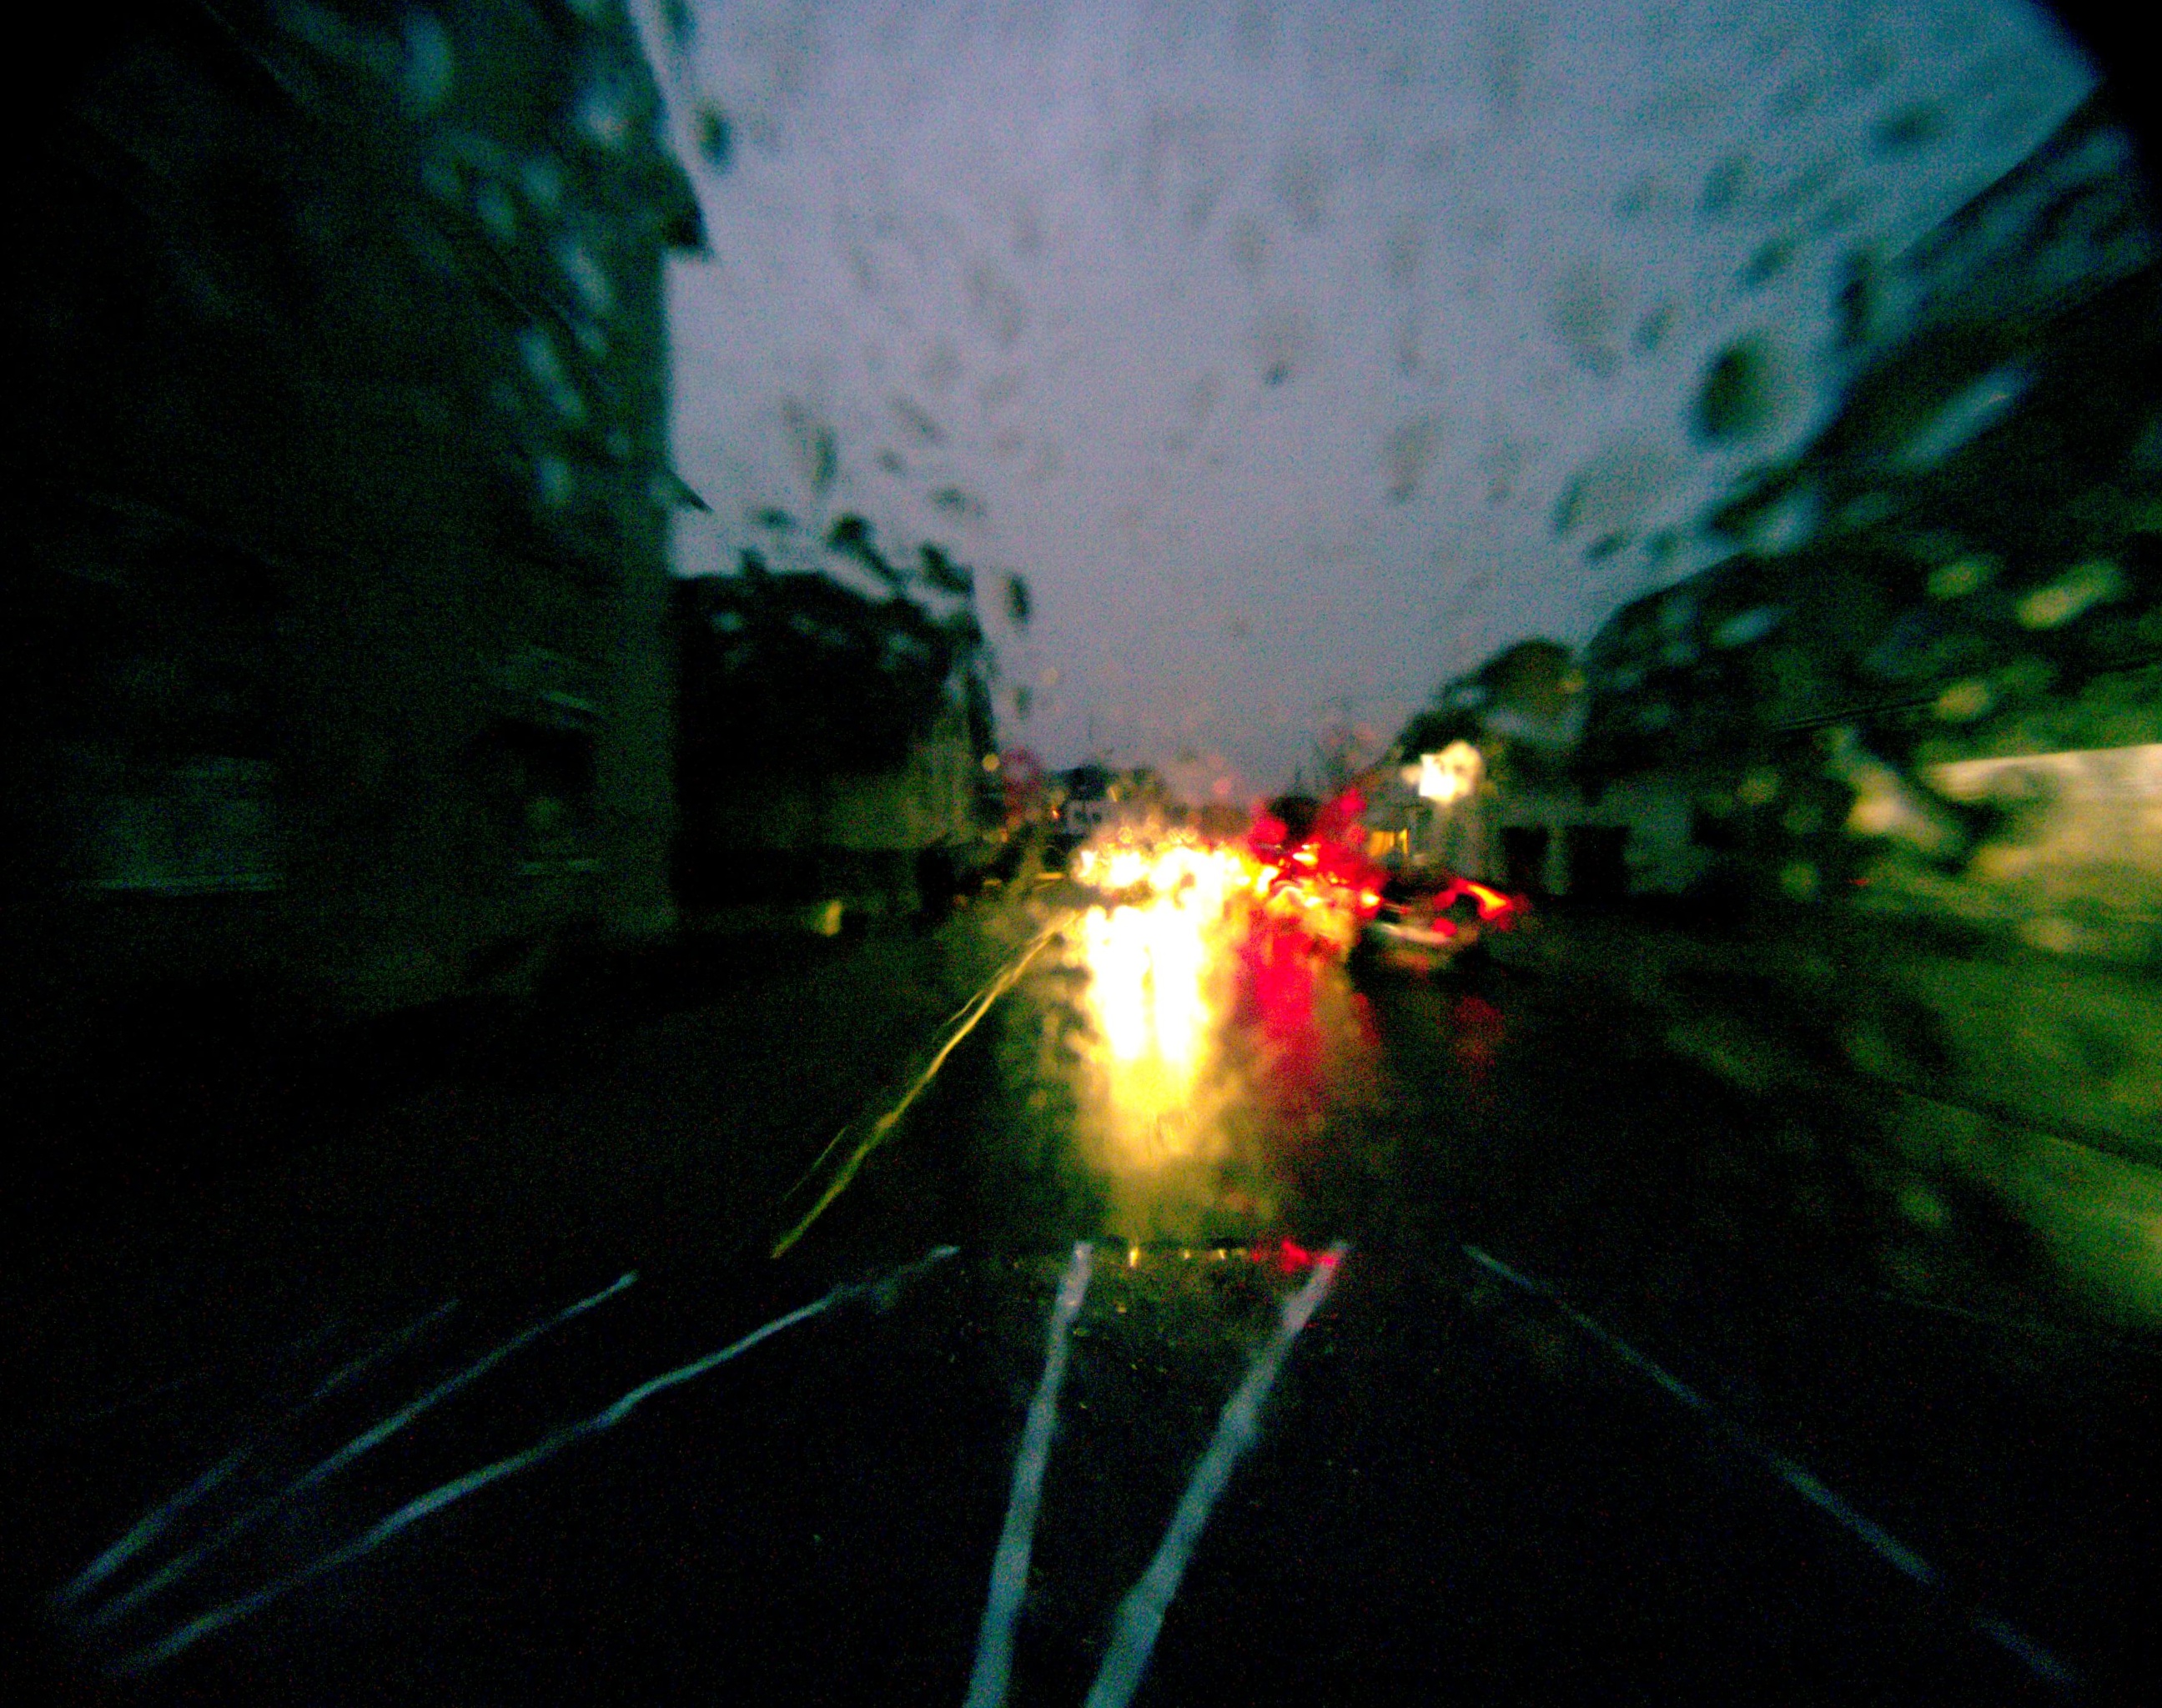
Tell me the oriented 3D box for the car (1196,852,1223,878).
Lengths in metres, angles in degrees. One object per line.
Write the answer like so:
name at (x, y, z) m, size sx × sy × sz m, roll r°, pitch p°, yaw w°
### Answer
car at (10.356, 0.847, 61.575) m, size 1.997 × 2.002 × 4.002 m, roll -1°, pitch 1°, yaw 8°

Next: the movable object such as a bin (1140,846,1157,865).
movable object such as a bin at (5.874, 0.144, 66.219) m, size 1.395 × 1.634 × 1.262 m, roll 2°, pitch 1°, yaw 8°

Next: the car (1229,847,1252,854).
car at (29.430, -0.641, 139.929) m, size 3.993 × 1.291 × 2.002 m, roll -1°, pitch 1°, yaw 14°

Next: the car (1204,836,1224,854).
car at (14.536, -1.019, 83.079) m, size 1.997 × 1.844 × 4.002 m, roll -1°, pitch 1°, yaw 8°

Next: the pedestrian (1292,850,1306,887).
pedestrian at (9.331, 0.602, 32.498) m, size 0.529 × 1.576 × 0.576 m, roll 0°, pitch 0°, yaw 9°

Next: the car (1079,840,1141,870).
car at (2.181, 0.042, 56.159) m, size 4.094 × 2.038 × 2.003 m, roll 2°, pitch 1°, yaw 19°

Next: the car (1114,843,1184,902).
car at (2.306, 0.533, 24.757) m, size 1.997 × 1.720 × 4.002 m, roll -1°, pitch 1°, yaw 9°

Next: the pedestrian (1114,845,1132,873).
pedestrian at (2.554, 0.310, 46.602) m, size 0.837 × 1.695 × 0.846 m, roll 2°, pitch 2°, yaw 22°

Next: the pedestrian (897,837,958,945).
pedestrian at (-2.535, 0.595, 12.608) m, size 0.746 × 1.719 × 0.873 m, roll 0°, pitch 0°, yaw 8°

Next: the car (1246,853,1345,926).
car at (5.188, 0.771, 18.885) m, size 1.860 × 1.547 × 4.260 m, roll 1°, pitch 1°, yaw 9°

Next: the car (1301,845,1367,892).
car at (10.207, 0.525, 30.990) m, size 1.883 × 1.700 × 4.715 m, roll -1°, pitch 1°, yaw 10°

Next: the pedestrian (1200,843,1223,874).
pedestrian at (8.046, 0.249, 46.799) m, size 0.944 × 1.865 × 1.010 m, roll -1°, pitch 1°, yaw -30°

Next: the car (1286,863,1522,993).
car at (4.444, 0.925, 11.266) m, size 1.998 × 1.546 × 4.260 m, roll 0°, pitch -1°, yaw 5°

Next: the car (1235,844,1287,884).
car at (8.397, 0.475, 35.831) m, size 1.997 × 1.695 × 4.971 m, roll -2°, pitch -1°, yaw 9°

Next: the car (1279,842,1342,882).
car at (11.089, 0.356, 37.122) m, size 2.090 × 1.781 × 5.026 m, roll -1°, pitch 0°, yaw 7°

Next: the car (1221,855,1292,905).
car at (5.943, 0.893, 26.213) m, size 1.955 × 1.537 × 4.420 m, roll 1°, pitch -2°, yaw 7°

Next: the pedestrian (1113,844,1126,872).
pedestrian at (2.422, 0.253, 47.678) m, size 0.705 × 1.695 × 0.915 m, roll -2°, pitch 1°, yaw 9°

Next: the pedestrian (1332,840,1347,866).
pedestrian at (16.577, -0.091, 48.801) m, size 0.827 × 1.649 × 1.098 m, roll -2°, pitch 1°, yaw 15°
